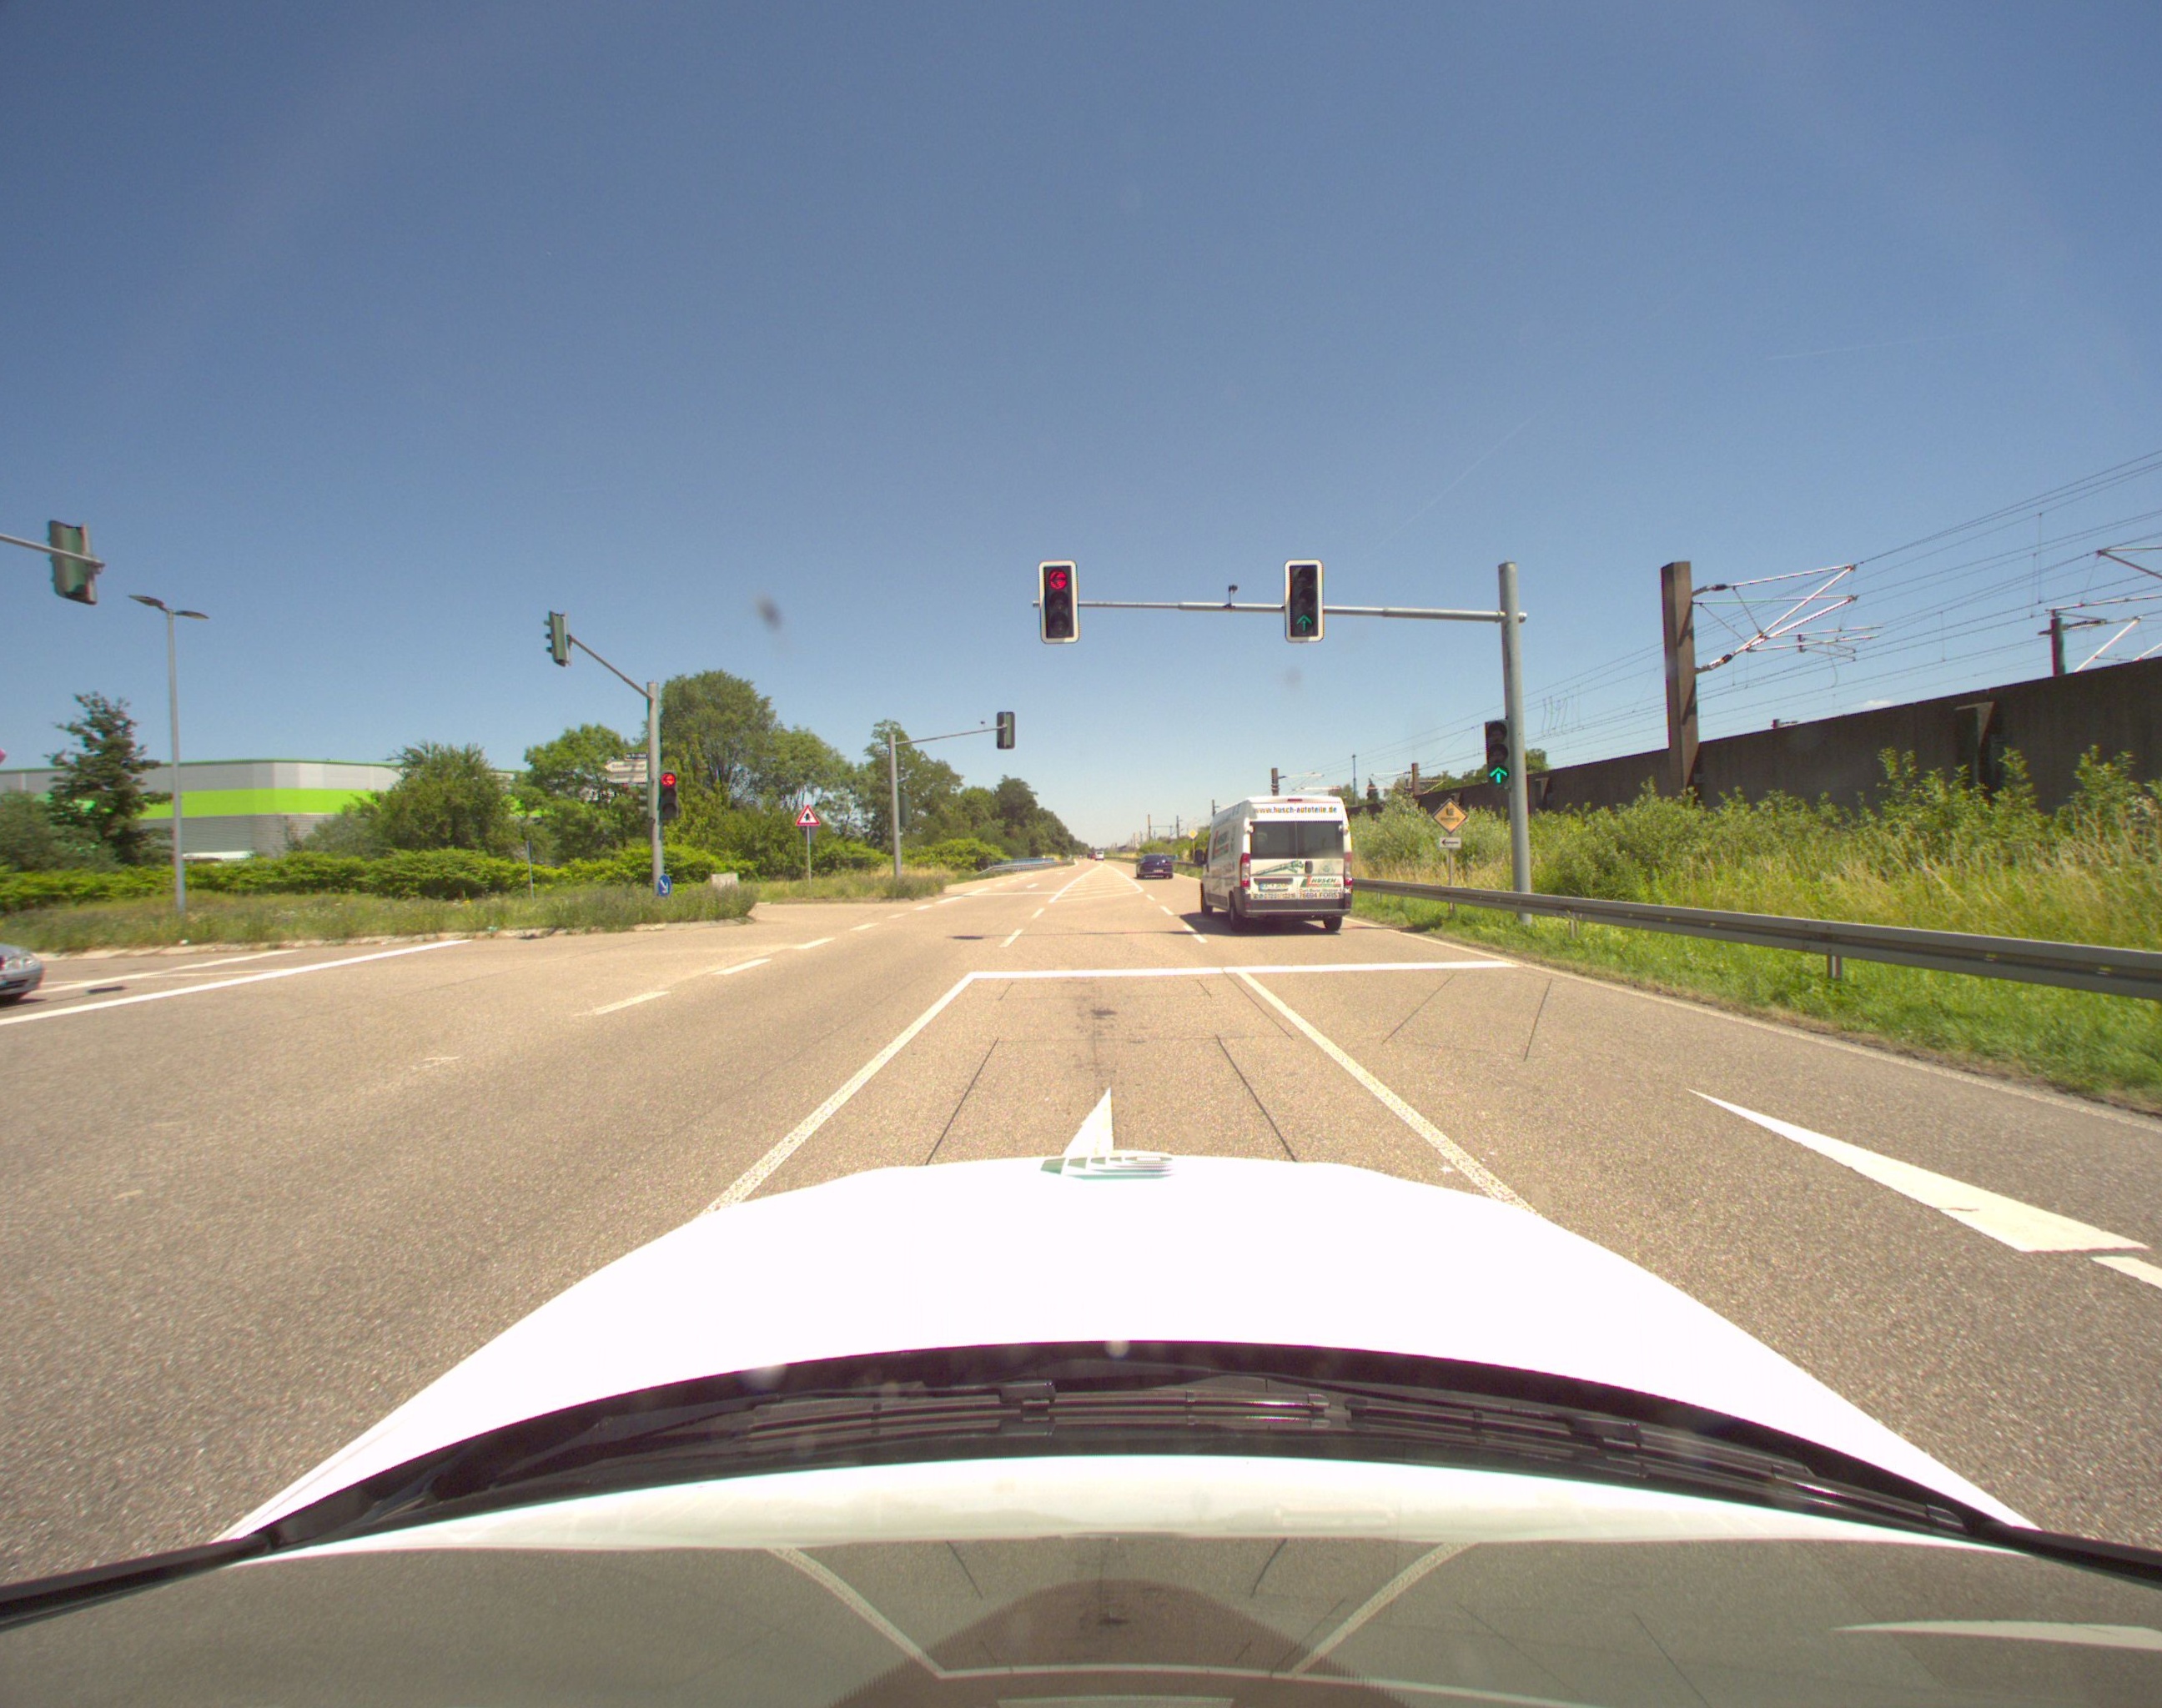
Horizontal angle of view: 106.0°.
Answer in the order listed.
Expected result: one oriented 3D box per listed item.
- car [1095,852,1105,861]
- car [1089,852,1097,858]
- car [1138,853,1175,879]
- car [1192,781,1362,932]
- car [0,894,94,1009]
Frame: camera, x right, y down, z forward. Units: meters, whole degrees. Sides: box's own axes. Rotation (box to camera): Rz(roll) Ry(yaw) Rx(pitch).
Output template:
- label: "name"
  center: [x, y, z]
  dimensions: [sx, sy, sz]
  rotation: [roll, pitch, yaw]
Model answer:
- label: "car"
  center: [3.975, 0.482, 173.868]
  dimensions: [1.987, 1.983, 4.059]
  rotation: [-1, 0, 0]
- label: "car"
  center: [3.289, 0.335, 224.173]
  dimensions: [2.013, 1.726, 4.542]
  rotation: [-1, 0, 0]
- label: "car"
  center: [4.261, 0.641, 46.599]
  dimensions: [1.850, 1.379, 4.505]
  rotation: [-1, 0, 1]
- label: "car"
  center: [3.871, 0.029, 17.540]
  dimensions: [2.180, 2.604, 6.753]
  rotation: [-1, 0, 1]
- label: "car"
  center: [-16.534, 1.365, 10.655]
  dimensions: [4.936, 1.457, 1.878]
  rotation: [-2, 0, 1]
